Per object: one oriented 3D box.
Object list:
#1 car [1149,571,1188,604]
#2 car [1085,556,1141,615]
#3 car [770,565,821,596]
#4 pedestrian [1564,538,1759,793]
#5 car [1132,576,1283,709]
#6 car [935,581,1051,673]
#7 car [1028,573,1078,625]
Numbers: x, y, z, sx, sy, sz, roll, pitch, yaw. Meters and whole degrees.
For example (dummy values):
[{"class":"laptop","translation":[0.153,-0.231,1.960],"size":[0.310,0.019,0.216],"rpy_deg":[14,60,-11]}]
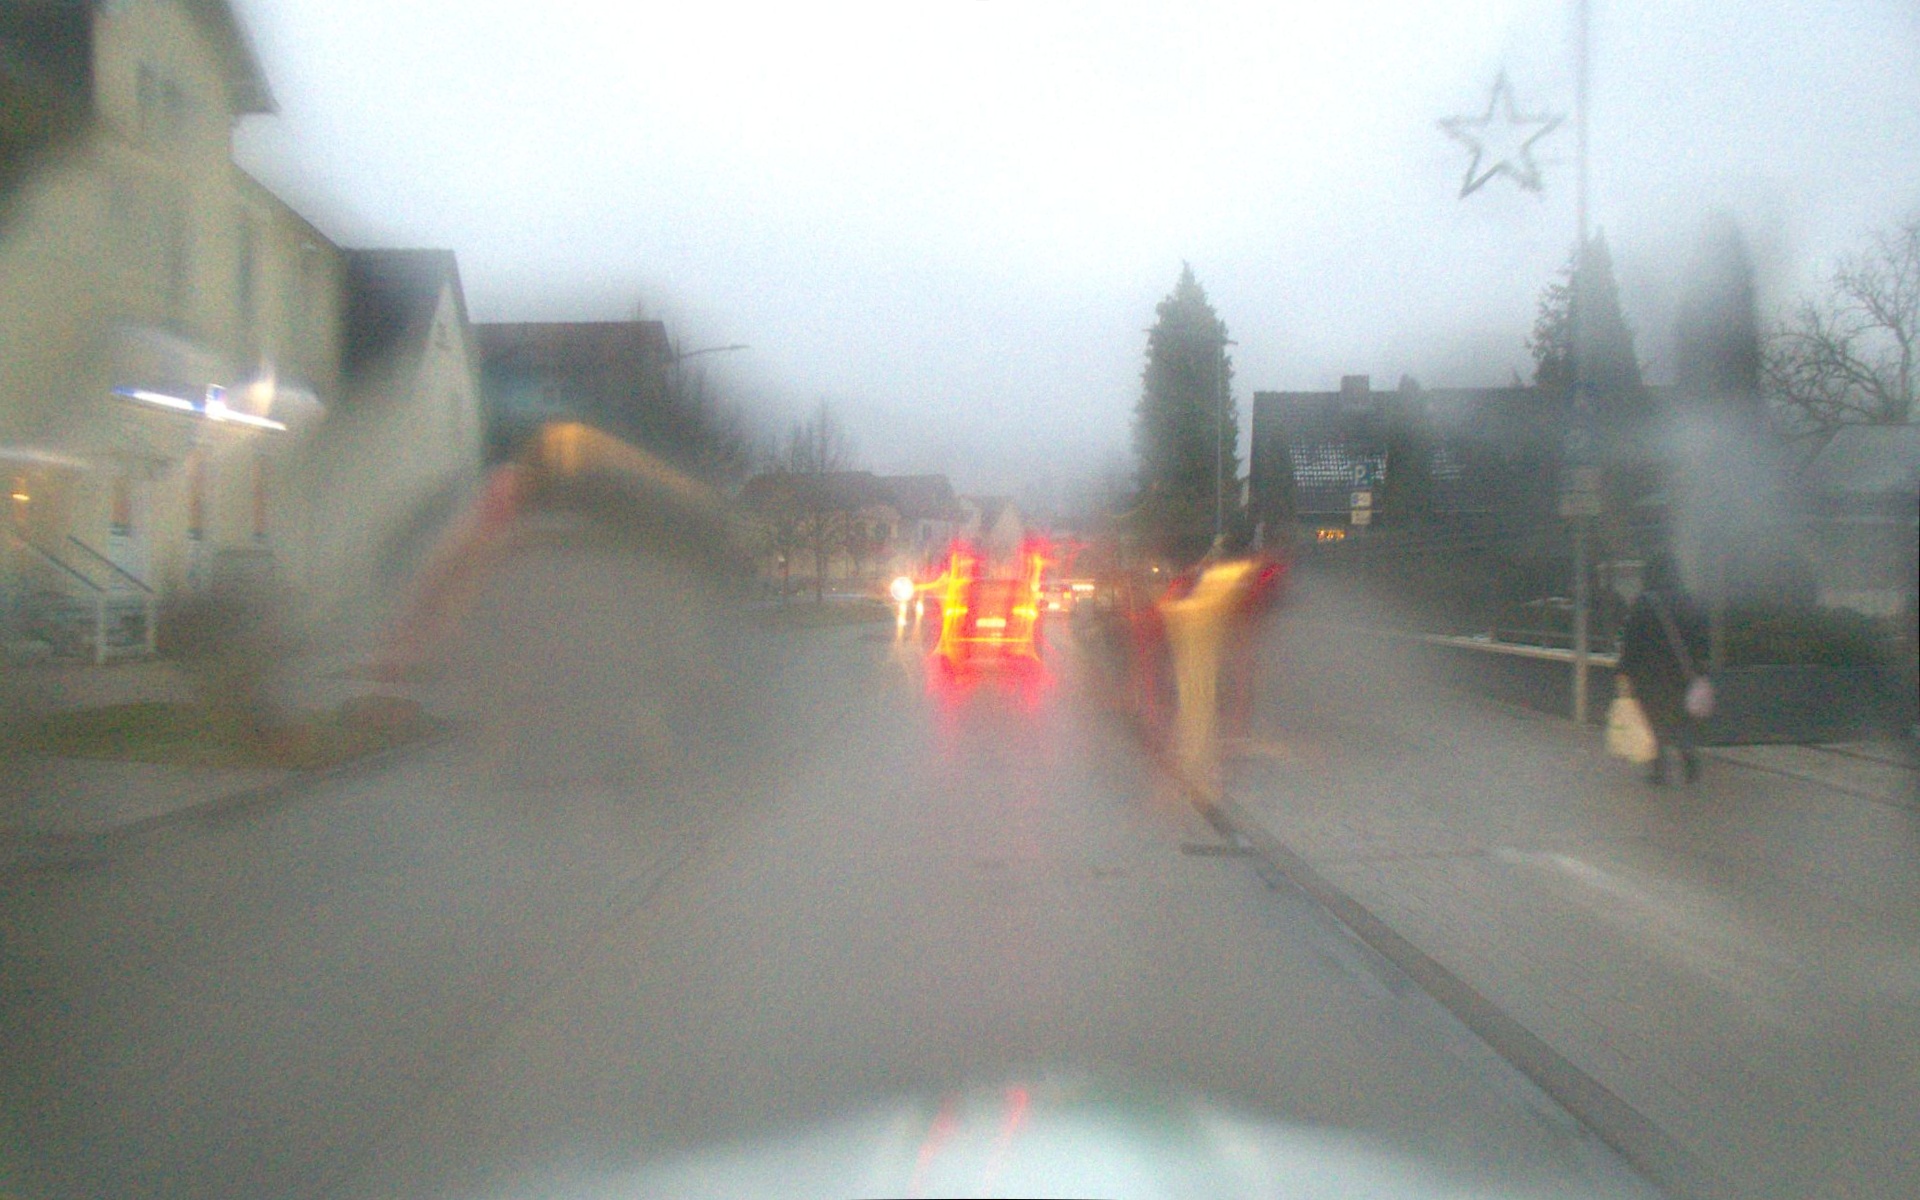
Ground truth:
[{"class":"car","translation":[12.239,-0.750,96.947],"size":[1.708,1.816,4.340],"rpy_deg":[-2,1,13]},{"class":"car","translation":[5.805,-0.582,62.732],"size":[1.936,2.048,5.749],"rpy_deg":[-2,1,5]},{"class":"car","translation":[-11.383,-1.356,114.651],"size":[1.952,2.048,4.001],"rpy_deg":[2,1,20]},{"class":"pedestrian","translation":[5.162,0.457,12.243],"size":[0.967,1.772,1.056],"rpy_deg":[-2,0,2]},{"class":"car","translation":[3.311,0.523,22.625],"size":[1.615,1.566,3.392],"rpy_deg":[-4,0,3]},{"class":"car","translation":[0.556,0.434,30.003],"size":[1.953,1.552,4.000],"rpy_deg":[0,1,0]},{"class":"car","translation":[3.860,-0.060,68.321],"size":[1.952,2.049,4.002],"rpy_deg":[1,0,4]}]
